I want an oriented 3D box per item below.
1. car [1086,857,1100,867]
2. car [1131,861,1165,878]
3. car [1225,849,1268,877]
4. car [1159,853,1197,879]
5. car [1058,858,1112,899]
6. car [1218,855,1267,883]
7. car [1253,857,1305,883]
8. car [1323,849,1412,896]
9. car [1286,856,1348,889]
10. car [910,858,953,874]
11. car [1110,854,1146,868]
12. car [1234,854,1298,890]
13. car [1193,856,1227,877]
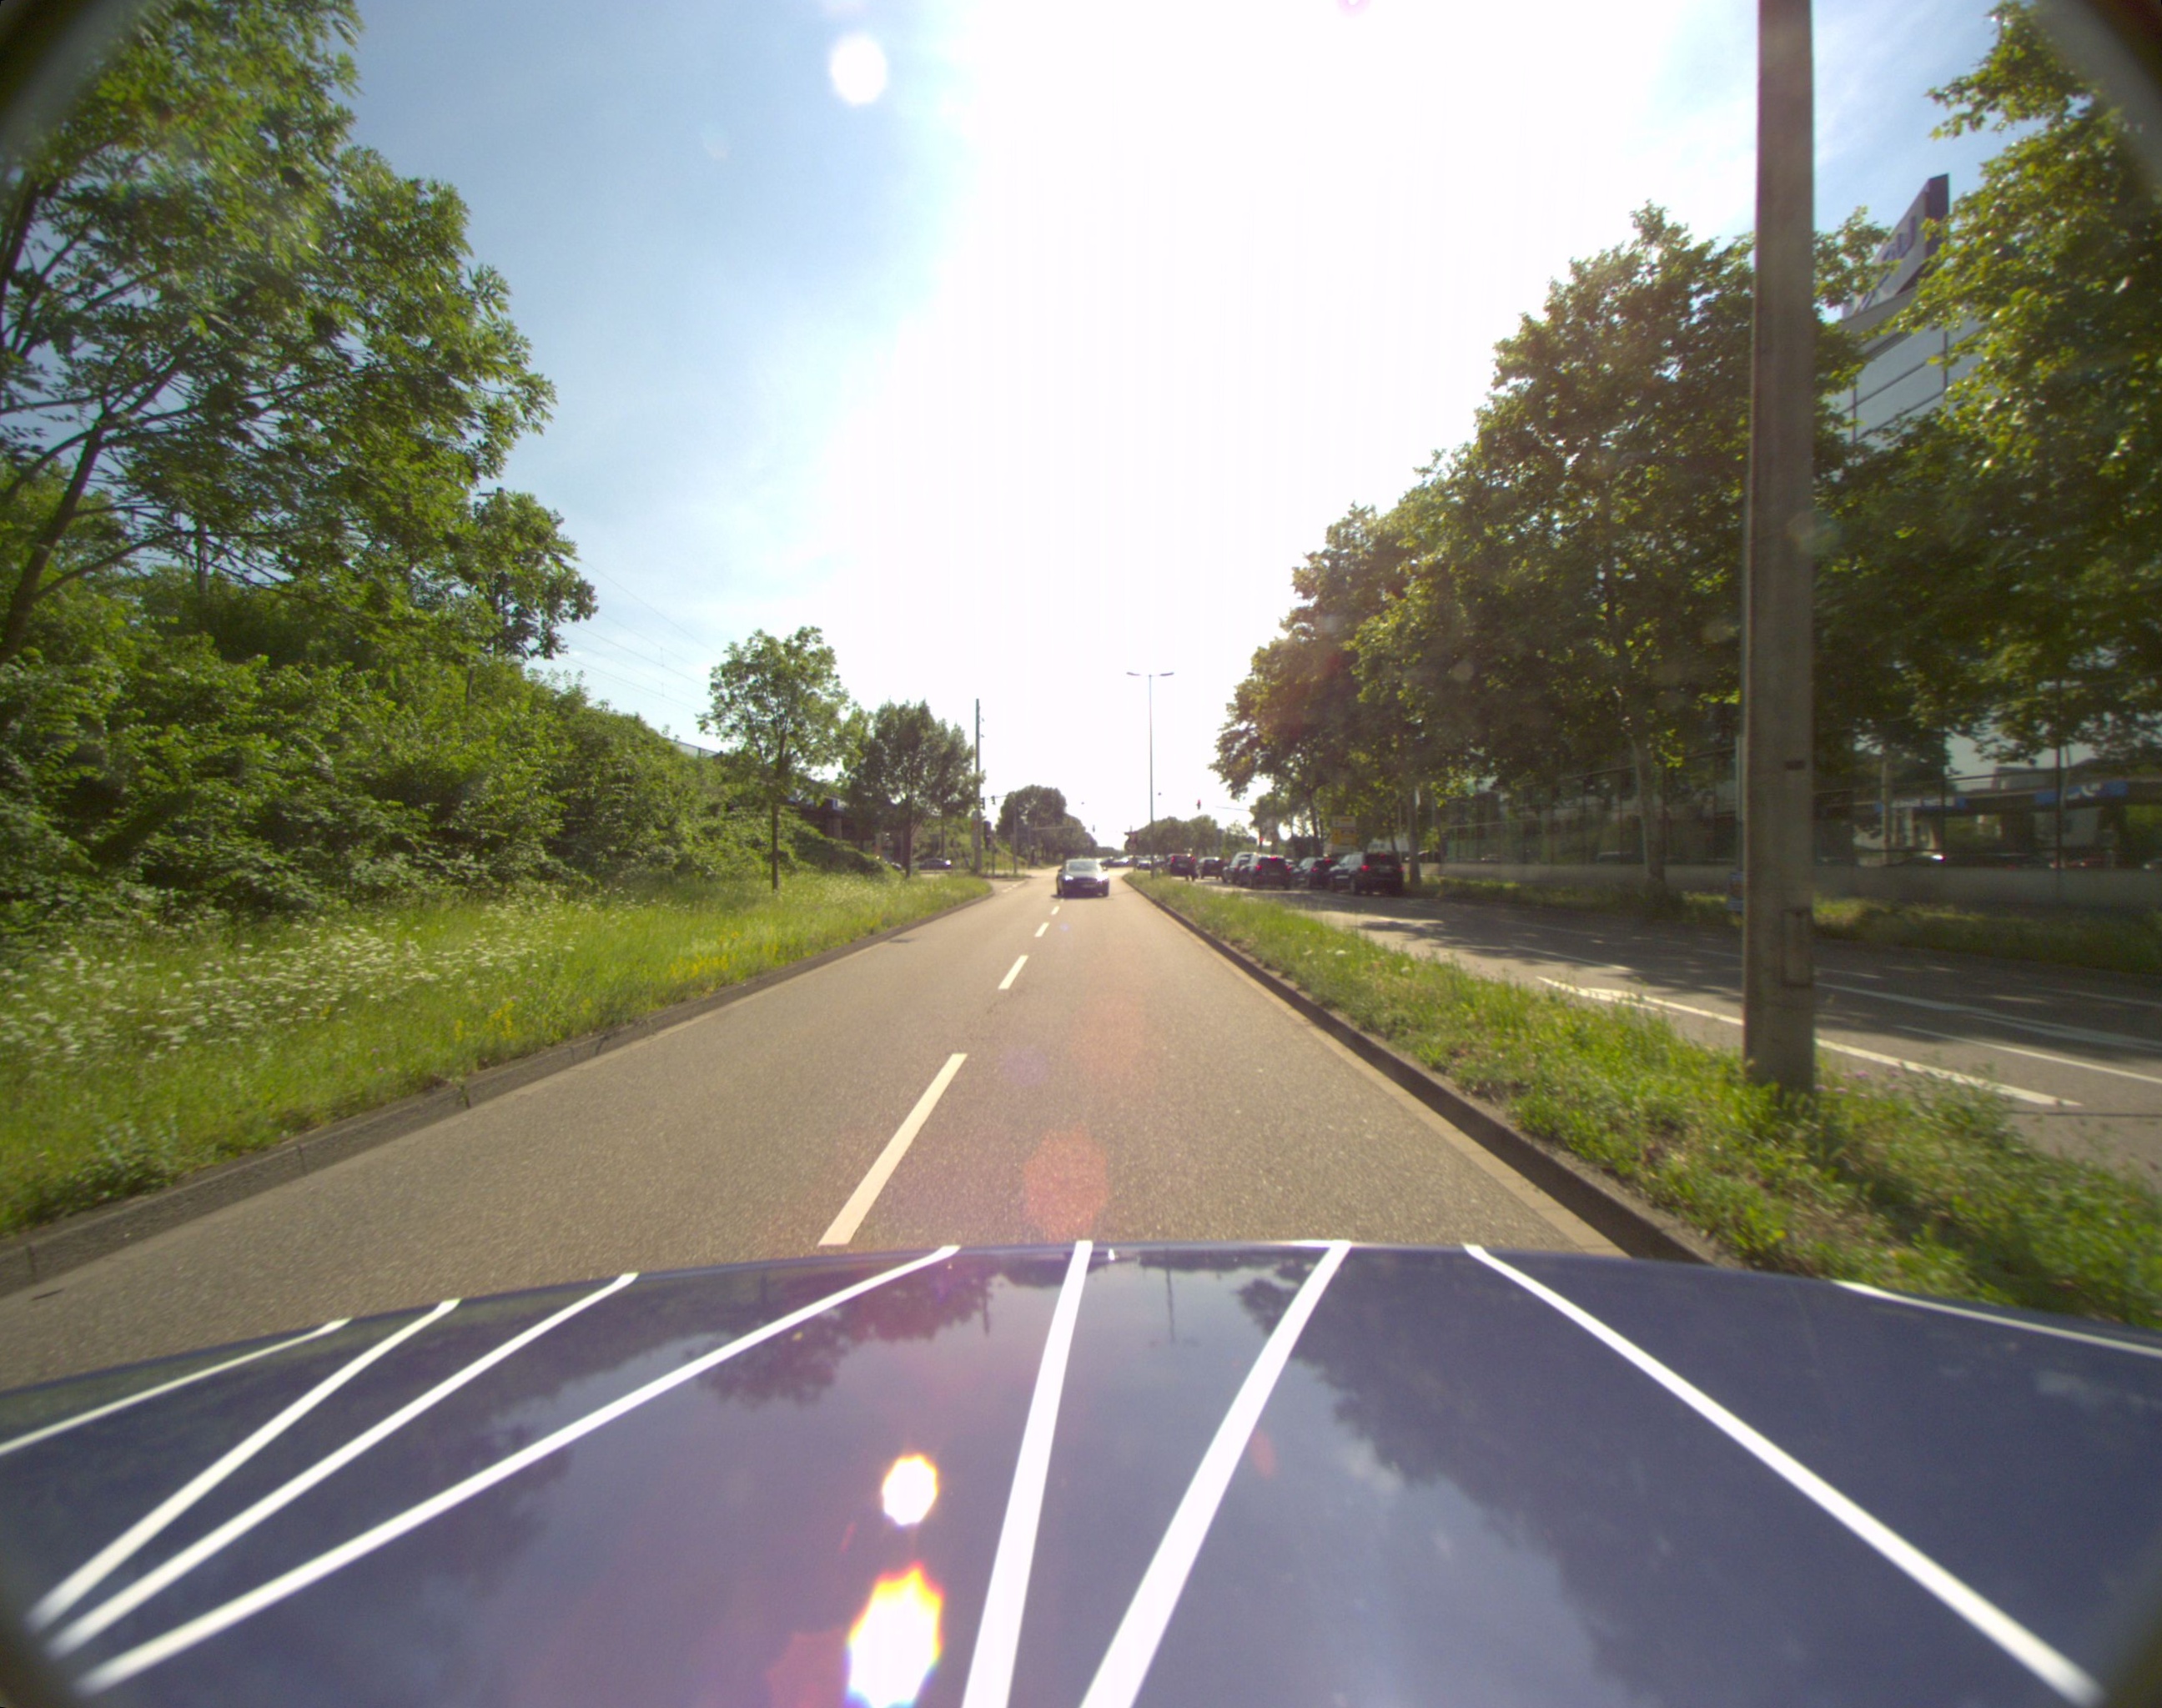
[{"bbox_3d":[1.830,1.271,116.365,1.714,1.384,4.004,-1,-2,6],"label":"car"},{"bbox_3d":[7.005,1.573,79.023,1.995,1.699,4.439,0,0,26],"label":"car"},{"bbox_3d":[11.854,0.629,54.776,1.943,1.908,5.228,0,0,0],"label":"car"},{"bbox_3d":[6.170,0.743,48.859,1.812,1.606,4.491,0,0,-1],"label":"car"},{"bbox_3d":[0.083,0.909,30.180,1.827,1.497,4.214,0,0,-4],"label":"car"},{"bbox_3d":[9.107,0.817,43.144,1.840,1.454,4.517,2,0,1],"label":"car"},{"bbox_3d":[11.869,0.933,45.778,1.895,1.441,5.004,1,0,1],"label":"car"},{"bbox_3d":[11.993,0.740,32.153,1.998,1.824,4.651,1,0,0],"label":"car"},{"bbox_3d":[12.037,0.899,39.058,1.892,1.581,4.446,1,0,1],"label":"car"},{"bbox_3d":[-15.338,1.232,78.062,4.006,1.603,1.815,0,-2,-29],"label":"car"},{"bbox_3d":[5.710,0.822,91.872,4.007,1.619,1.768,0,0,-32],"label":"car"},{"bbox_3d":[8.781,0.828,36.515,1.998,1.601,4.496,0,0,0],"label":"car"},{"bbox_3d":[9.123,0.881,53.950,1.766,1.466,3.958,0,0,0],"label":"car"}]
